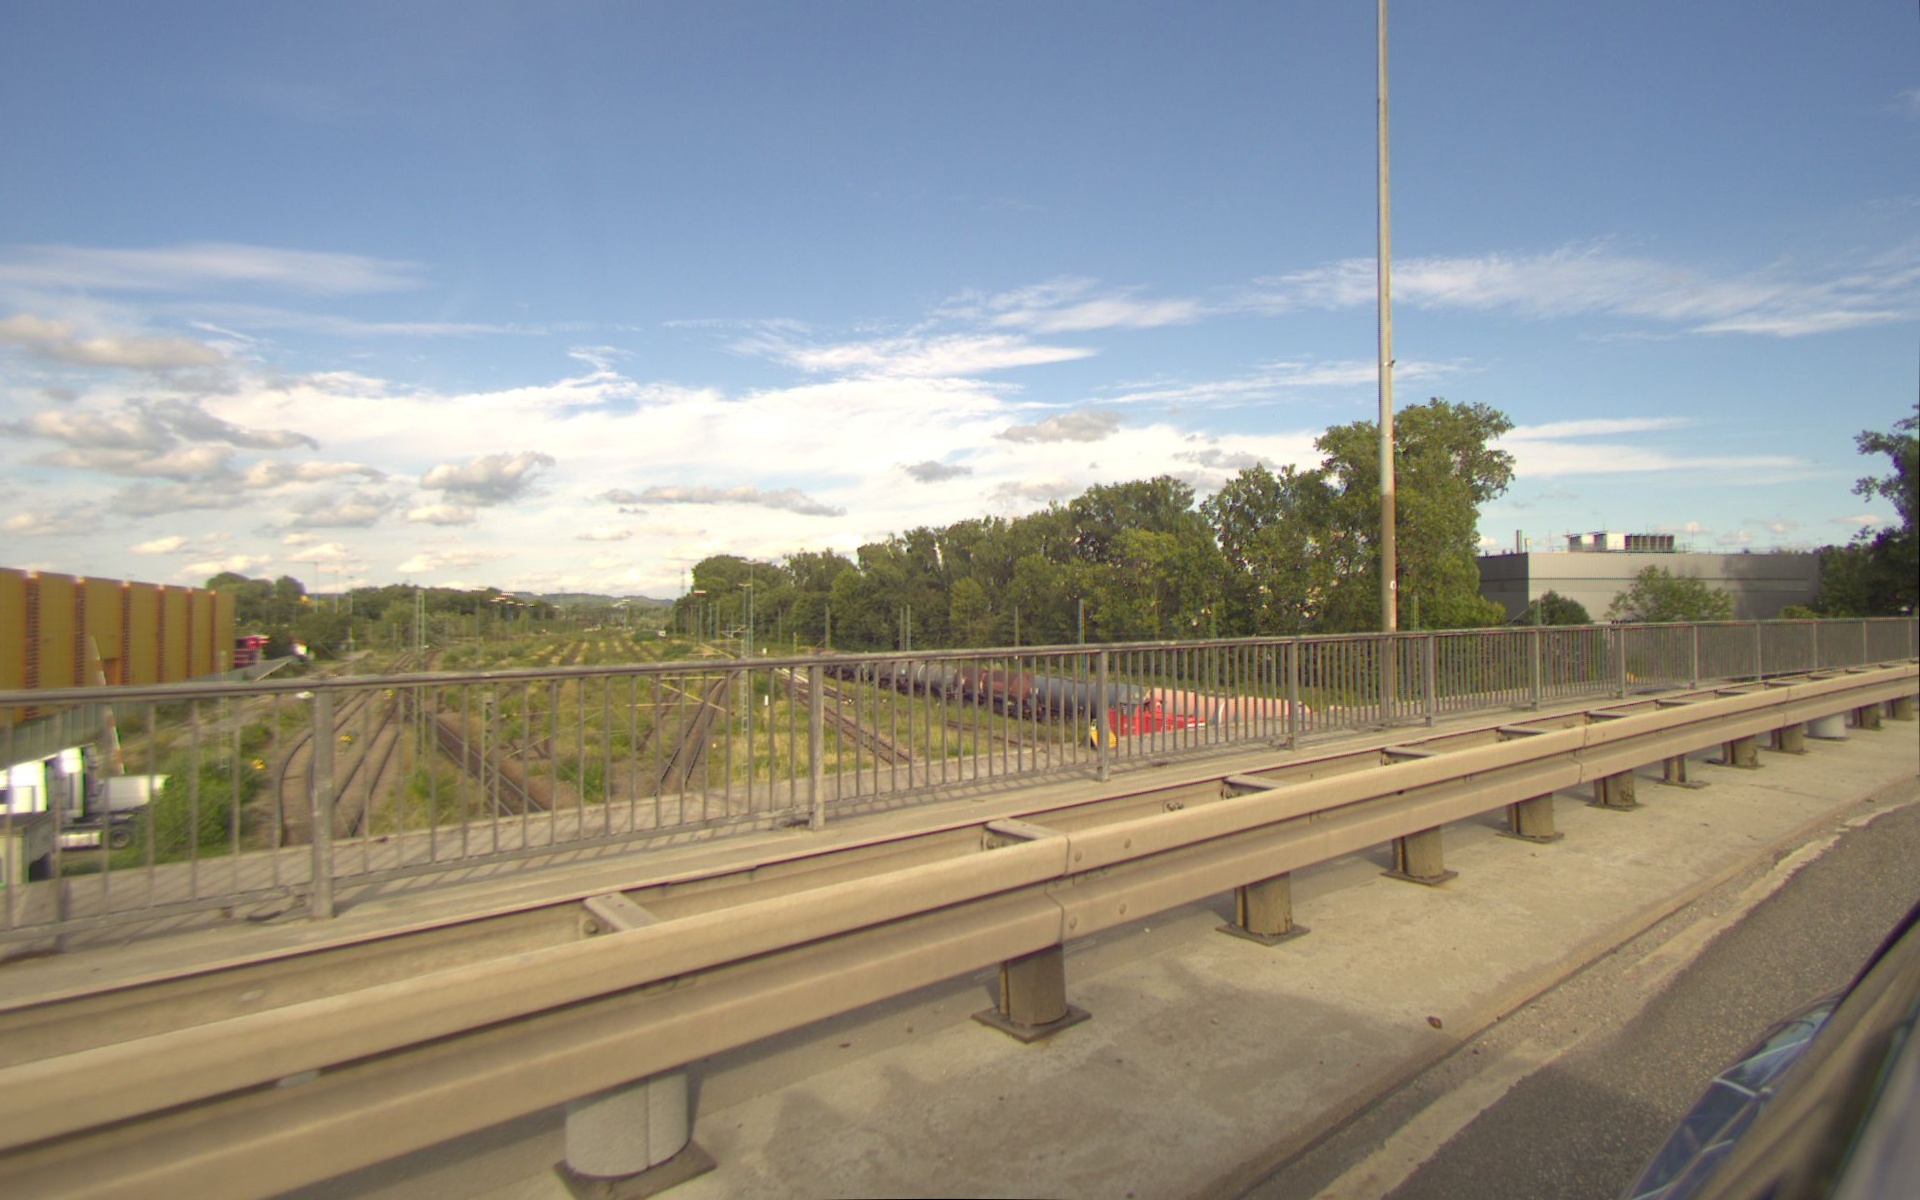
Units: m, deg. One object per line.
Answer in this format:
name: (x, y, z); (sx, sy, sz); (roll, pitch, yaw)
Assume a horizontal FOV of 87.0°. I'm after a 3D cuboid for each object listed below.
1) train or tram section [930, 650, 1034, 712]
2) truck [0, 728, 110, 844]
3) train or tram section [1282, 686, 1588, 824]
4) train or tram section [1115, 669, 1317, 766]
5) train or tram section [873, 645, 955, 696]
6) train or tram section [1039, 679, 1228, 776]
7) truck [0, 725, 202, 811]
train or tram section: (1.818, 7.822, 100.838); (3.033, 4.772, 16.774); (0, 0, -26)
truck: (-40.010, 7.939, 44.179); (2.611, 3.663, 7.245); (2, 0, -26)
train or tram section: (25.495, 8.094, 56.414); (3.034, 4.771, 16.771); (0, 1, -29)
train or tram section: (17.333, 7.852, 71.006); (3.034, 4.772, 16.767); (0, 0, -29)
train or tram section: (-5.565, 7.870, 115.990); (3.033, 4.772, 16.774); (0, 0, -26)
train or tram section: (11.340, 8.392, 69.895); (3.034, 4.196, 17.330); (0, 1, -27)
truck: (-42.044, 8.049, 48.846); (8.445, 3.422, 2.039); (2, 0, -30)
